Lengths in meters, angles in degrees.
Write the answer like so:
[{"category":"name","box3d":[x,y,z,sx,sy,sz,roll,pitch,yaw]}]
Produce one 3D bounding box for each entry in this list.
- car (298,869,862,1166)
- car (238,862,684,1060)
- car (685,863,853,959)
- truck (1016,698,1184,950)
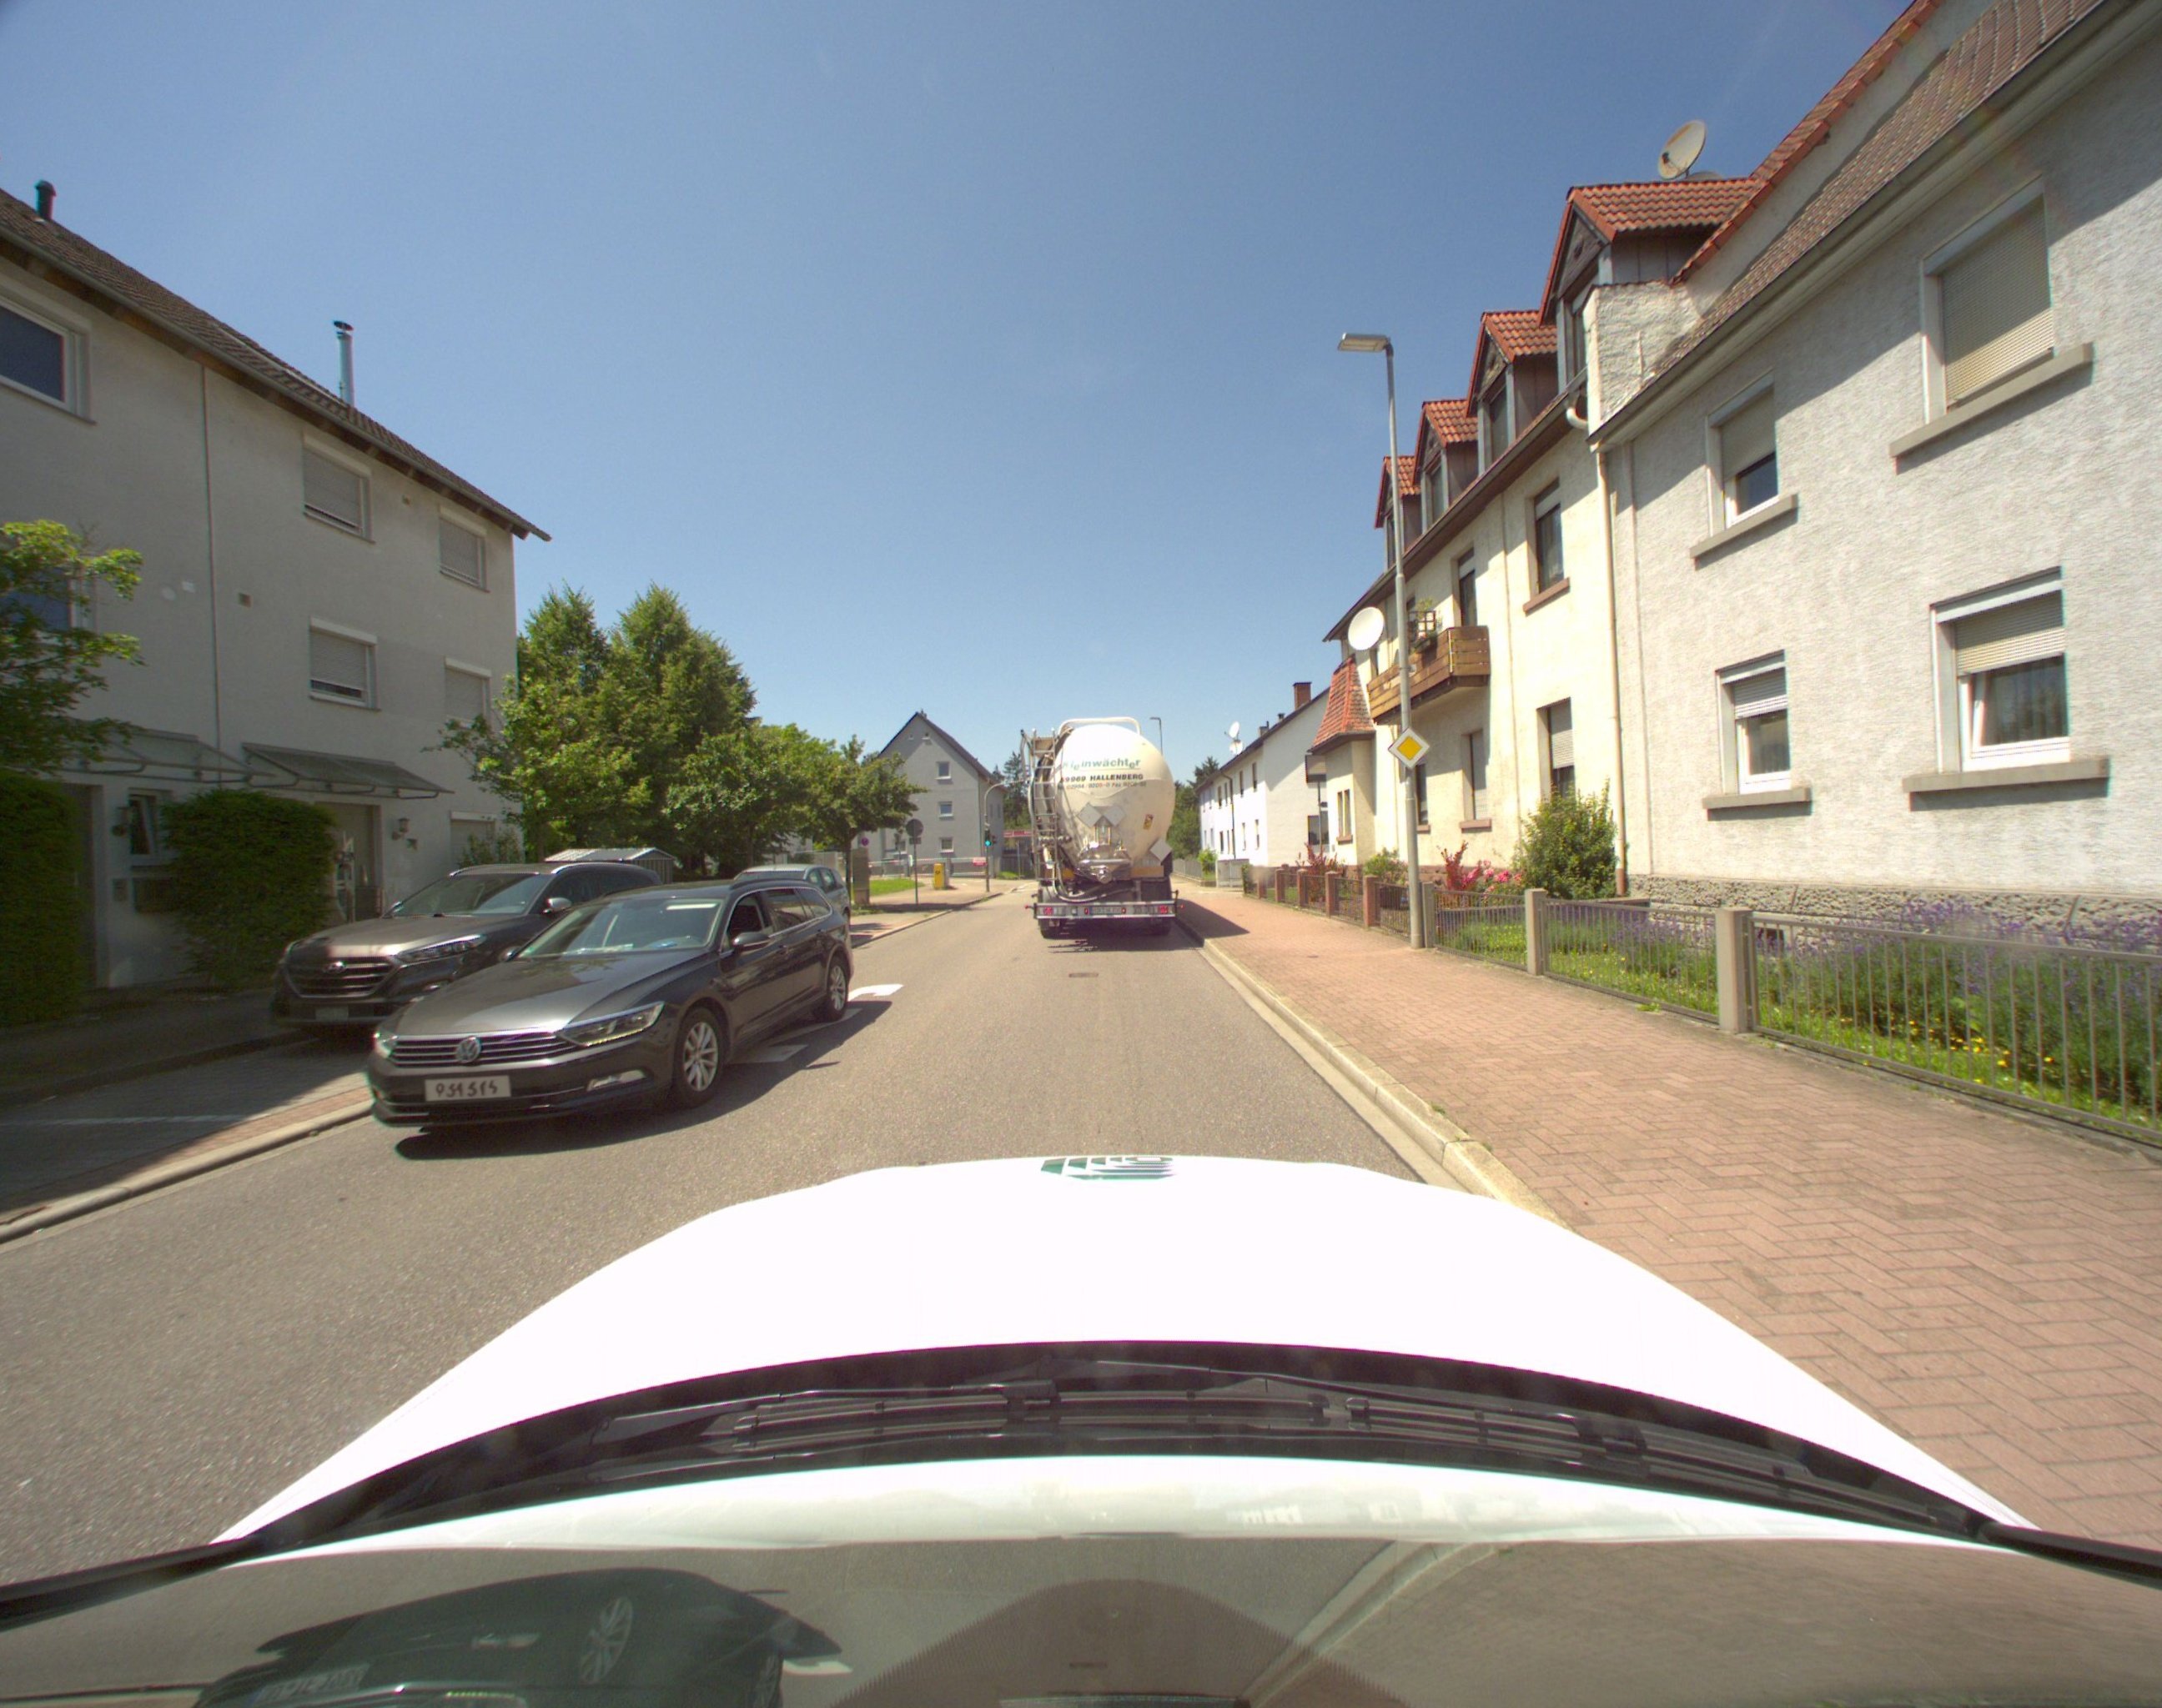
[{"category":"car","box3d":[-3.315,0.931,6.584,1.778,1.456,4.258,-4,0,1]},{"category":"car","box3d":[-6.225,0.924,8.891,1.685,1.620,3.999,-1,0,2]},{"category":"car","box3d":[-5.864,0.989,15.829,1.691,1.581,3.838,-1,0,1]},{"category":"truck","box3d":[0.455,-0.465,17.944,2.631,4.016,9.565,-1,0,2]}]
